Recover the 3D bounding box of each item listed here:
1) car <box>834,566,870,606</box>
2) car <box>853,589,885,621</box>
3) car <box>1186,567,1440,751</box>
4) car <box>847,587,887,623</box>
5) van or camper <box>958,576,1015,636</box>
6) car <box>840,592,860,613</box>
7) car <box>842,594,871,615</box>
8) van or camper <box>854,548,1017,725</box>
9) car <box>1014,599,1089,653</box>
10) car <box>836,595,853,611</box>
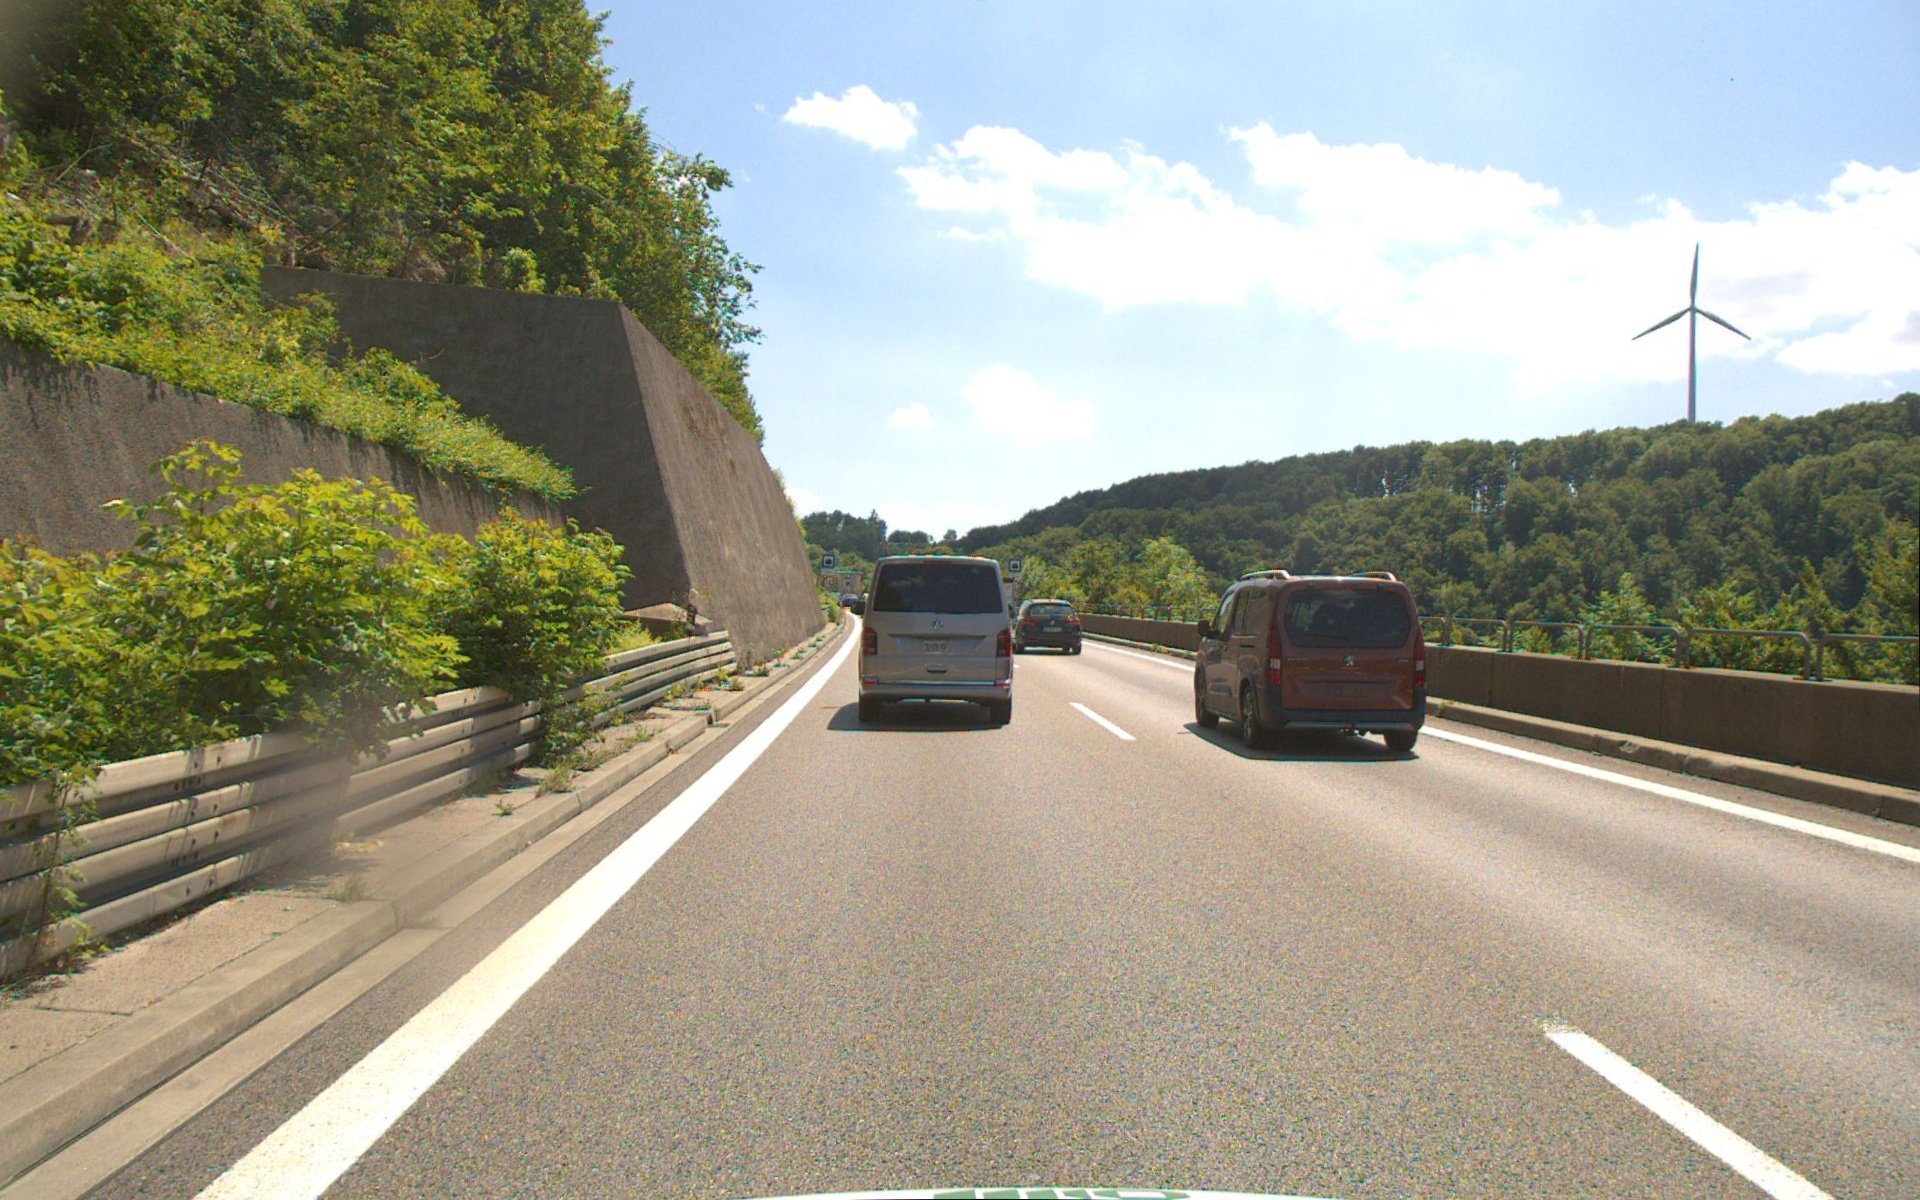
[{"bbox_3d":[-13.805,-1.786,210.083,3.966,4.956,10.094,1,0,-7],"label":"car"},{"bbox_3d":[-5.739,0.278,103.883,1.954,1.948,3.996,1,0,-4],"label":"car"},{"bbox_3d":[3.825,0.600,18.743,1.796,1.815,4.674,0,0,-1],"label":"car"},{"bbox_3d":[-4.864,0.255,86.427,1.955,1.849,3.996,1,0,-5],"label":"car"},{"bbox_3d":[1.174,0.278,74.620,2.219,2.596,4.733,-1,0,-3],"label":"van or camper"},{"bbox_3d":[-10.976,0.246,165.469,1.954,2.049,3.997,-1,0,-3],"label":"car"},{"bbox_3d":[-8.113,0.347,129.495,2.101,1.635,5.072,0,0,-6],"label":"car"},{"bbox_3d":[-0.330,0.430,21.010,1.838,1.984,4.292,-1,0,-2],"label":"van or camper"},{"bbox_3d":[2.491,0.694,45.656,1.733,1.400,3.591,1,0,-2],"label":"car"},{"bbox_3d":[-12.869,0.341,184.342,1.808,1.780,3.998,0,0,-2],"label":"car"}]
